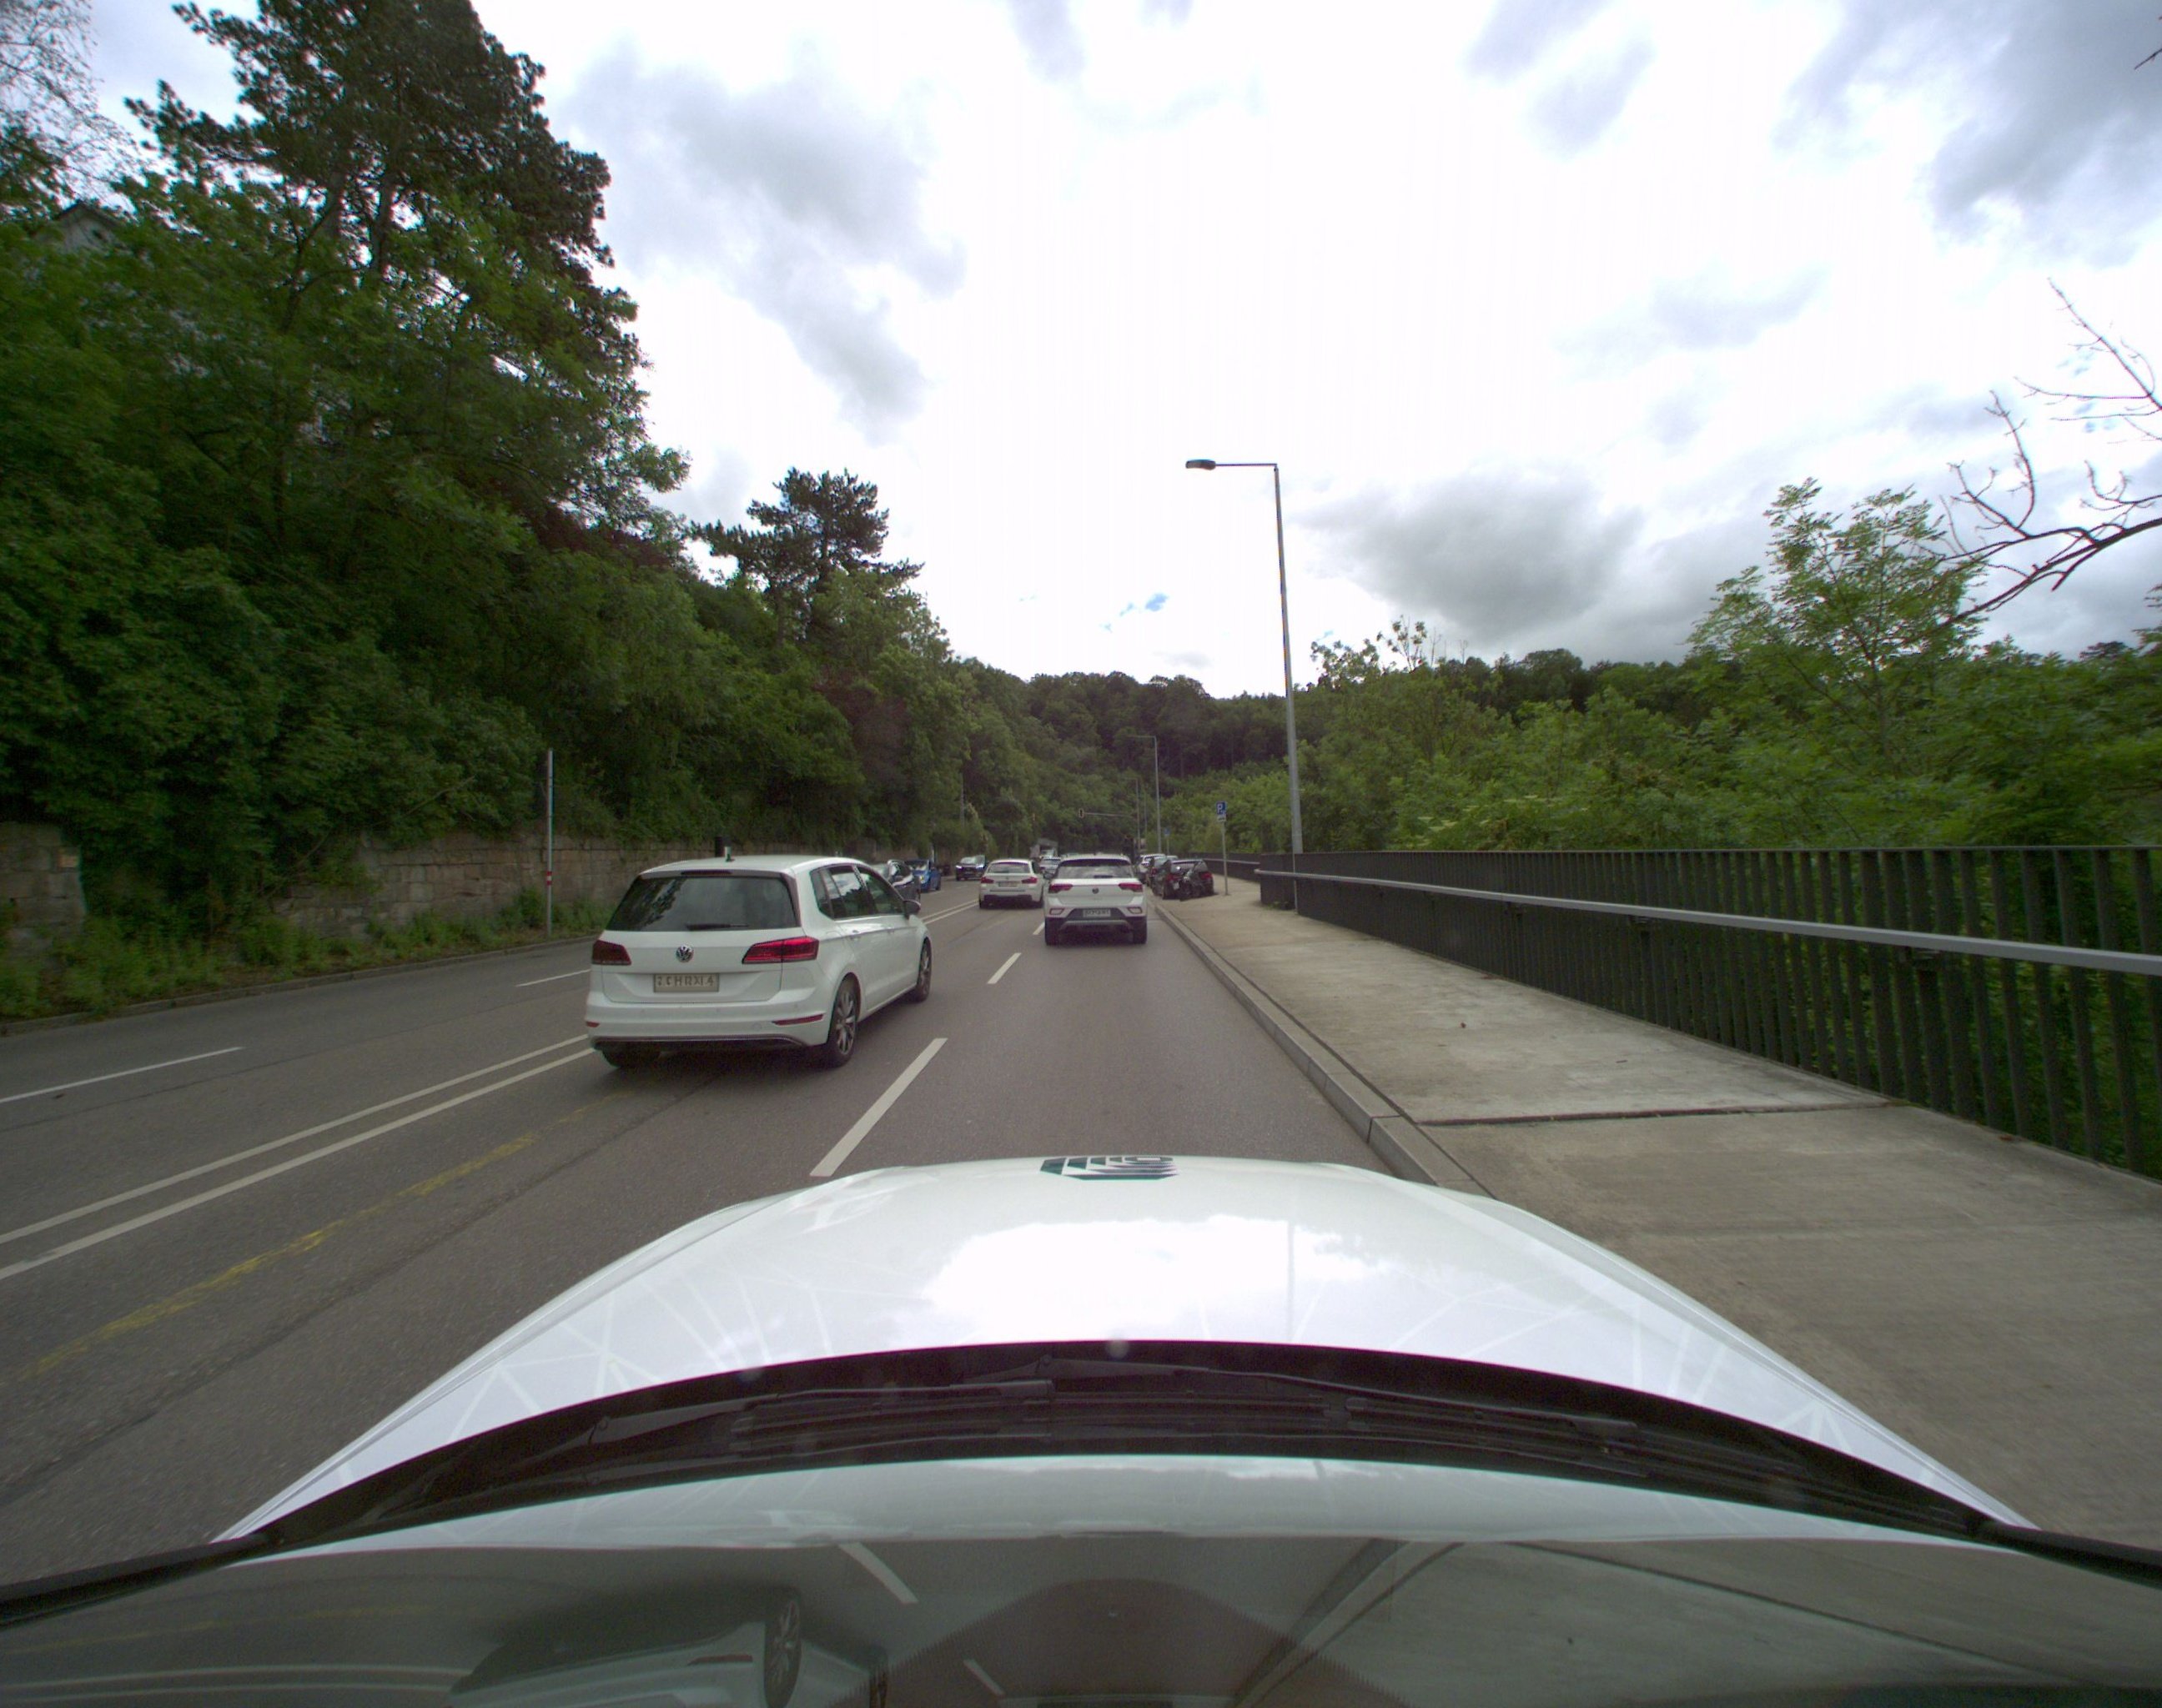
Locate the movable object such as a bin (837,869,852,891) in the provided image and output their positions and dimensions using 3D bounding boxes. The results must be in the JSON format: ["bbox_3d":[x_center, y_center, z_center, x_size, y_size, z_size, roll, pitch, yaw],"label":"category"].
[{"bbox_3d":[-10.913,1.203,37.574,0.515,0.966,0.474,-1,0,-2],"label":"movable object such as a bin"}]

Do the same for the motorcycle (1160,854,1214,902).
[{"bbox_3d":[3.383,0.725,25.751,0.762,1.467,2.520,-1,0,30],"label":"motorcycle"}]

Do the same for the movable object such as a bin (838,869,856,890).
[{"bbox_3d":[-11.008,1.193,38.256,0.672,0.966,0.543,-1,0,-2],"label":"movable object such as a bin"}]

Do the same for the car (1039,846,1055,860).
[{"bbox_3d":[-4.916,-0.121,117.952,1.914,2.005,5.358,-1,0,2],"label":"car"}]

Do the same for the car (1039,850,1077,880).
[{"bbox_3d":[-1.233,0.614,46.154,1.855,1.595,4.002,1,-1,2],"label":"car"}]

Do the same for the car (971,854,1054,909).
[{"bbox_3d":[-2.007,0.773,25.330,1.985,1.557,4.684,0,0,3],"label":"car"}]

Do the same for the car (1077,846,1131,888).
[{"bbox_3d":[1.167,0.613,38.702,1.982,1.843,4.161,1,-1,9],"label":"car"}]

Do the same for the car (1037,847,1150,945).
[{"bbox_3d":[0.315,0.717,15.328,1.806,1.539,4.011,-2,-1,3],"label":"car"}]

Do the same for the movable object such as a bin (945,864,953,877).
[{"bbox_3d":[-9.920,1.256,61.178,0.478,0.936,0.365,1,-1,-3],"label":"movable object such as a bin"}]

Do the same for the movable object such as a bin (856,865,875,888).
[{"bbox_3d":[-10.836,1.123,40.990,0.785,1.071,0.708,-1,1,-2],"label":"movable object such as a bin"}]

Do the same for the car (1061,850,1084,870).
[{"bbox_3d":[-0.754,0.555,76.790,1.986,1.864,4.002,-1,0,2],"label":"car"}]

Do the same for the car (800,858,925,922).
[{"bbox_3d":[-5.402,0.835,20.736,1.849,1.446,4.299,-1,0,3],"label":"car"}]

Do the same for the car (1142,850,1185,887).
[{"bbox_3d":[3.914,0.684,39.215,1.653,1.572,4.256,-4,0,1],"label":"car"}]

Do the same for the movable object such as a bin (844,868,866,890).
[{"bbox_3d":[-10.968,1.194,39.547,0.896,1.034,0.621,-1,0,-2],"label":"movable object such as a bin"}]

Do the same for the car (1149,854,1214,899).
[{"bbox_3d":[3.605,0.774,29.820,1.817,1.401,4.319,-3,0,0],"label":"car"}]

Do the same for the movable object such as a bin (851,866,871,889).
[{"bbox_3d":[-10.883,1.153,40.252,0.770,1.062,0.717,-1,0,-2],"label":"movable object such as a bin"}]

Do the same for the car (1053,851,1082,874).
[{"bbox_3d":[-0.980,0.626,62.858,1.986,1.741,4.002,-1,0,2],"label":"car"}]

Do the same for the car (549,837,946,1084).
[{"bbox_3d":[-2.478,0.684,7.325,1.714,1.554,4.276,-1,0,1],"label":"car"}]

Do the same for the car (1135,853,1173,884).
[{"bbox_3d":[3.947,0.784,44.642,1.720,1.568,4.625,-2,-1,1],"label":"car"}]

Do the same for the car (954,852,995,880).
[{"bbox_3d":[-6.872,0.775,53.085,1.808,1.697,4.473,-1,0,3],"label":"car"}]

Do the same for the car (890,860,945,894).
[{"bbox_3d":[-7.345,1.012,36.929,1.577,1.461,3.525,-1,-1,3],"label":"car"}]

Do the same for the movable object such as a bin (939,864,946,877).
[{"bbox_3d":[-10.425,1.240,61.159,0.476,0.971,0.367,1,-1,-3],"label":"movable object such as a bin"}]
